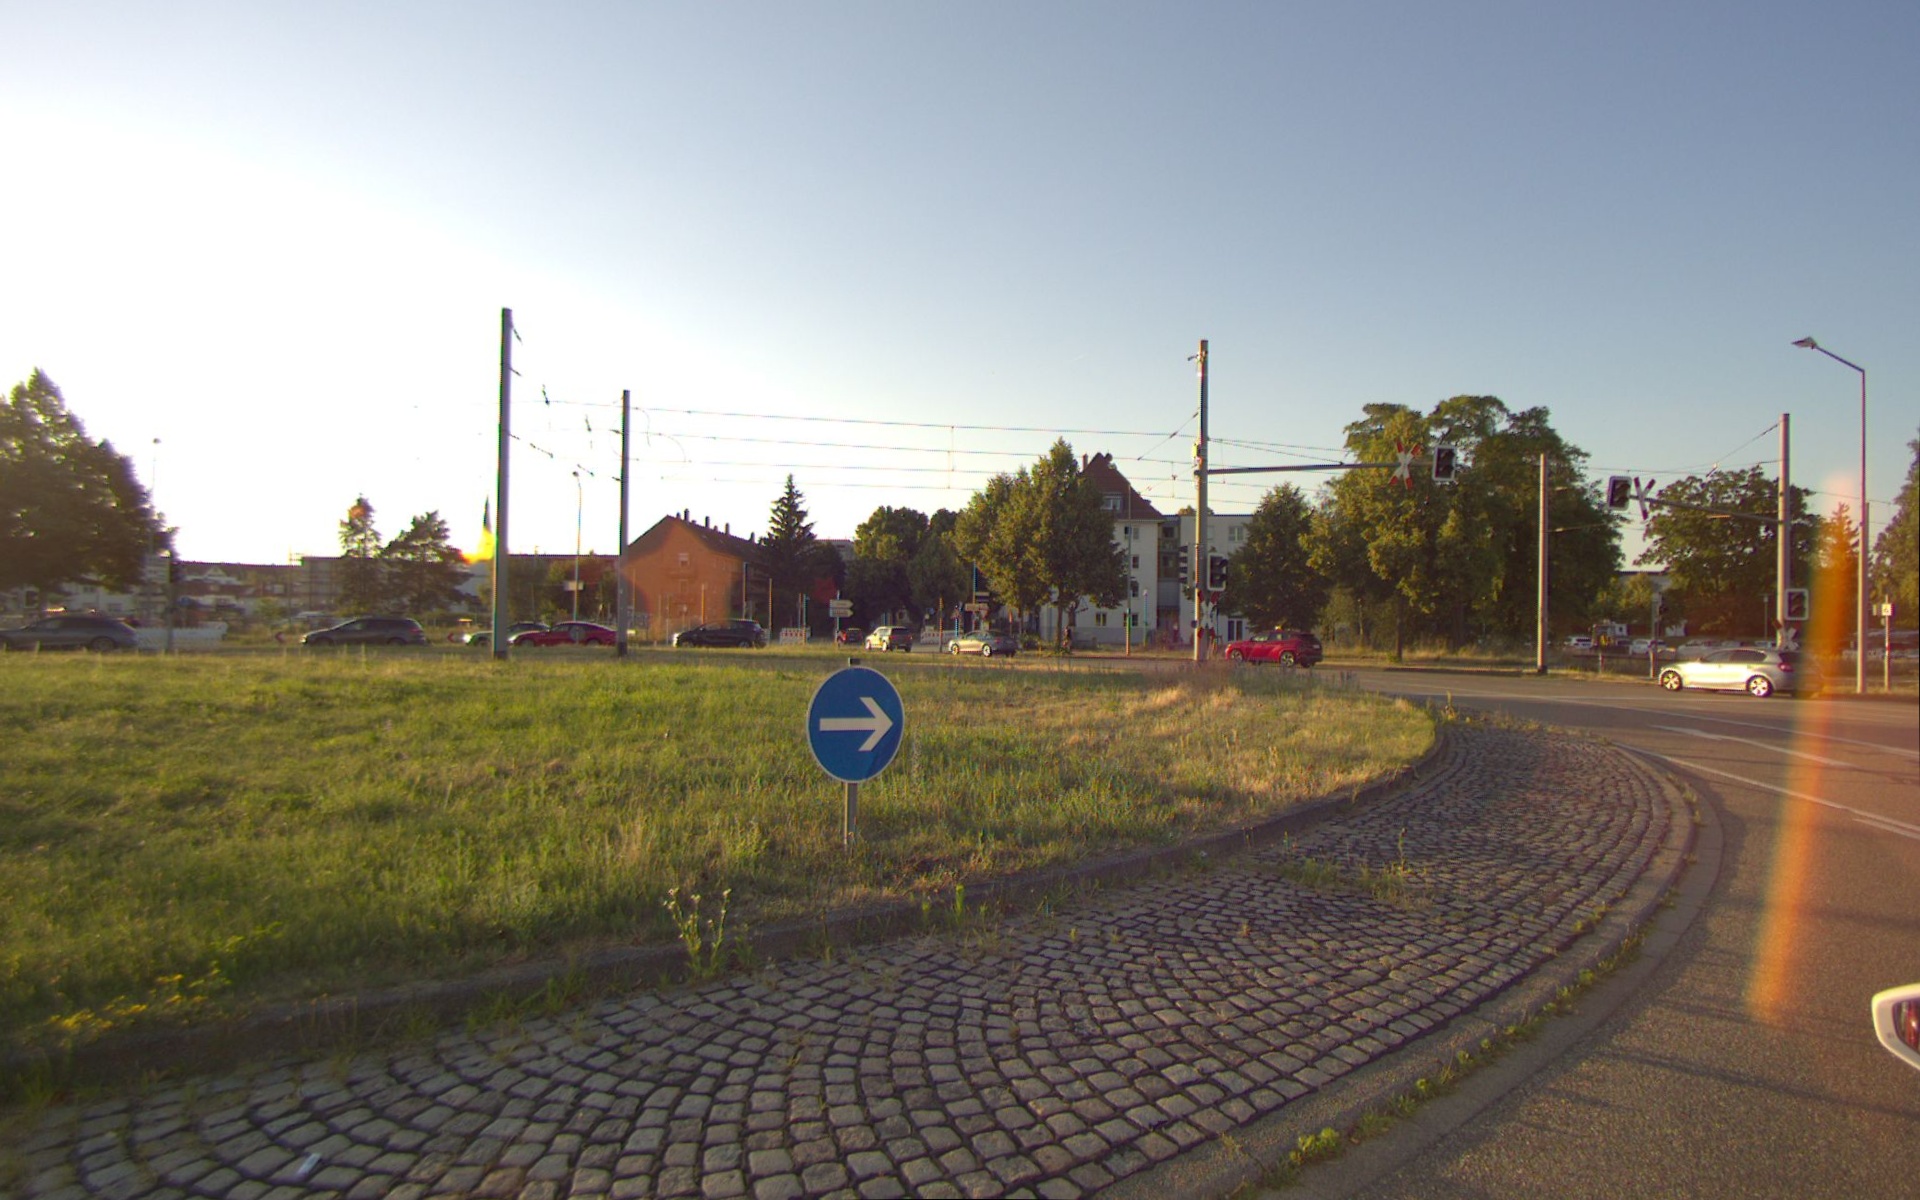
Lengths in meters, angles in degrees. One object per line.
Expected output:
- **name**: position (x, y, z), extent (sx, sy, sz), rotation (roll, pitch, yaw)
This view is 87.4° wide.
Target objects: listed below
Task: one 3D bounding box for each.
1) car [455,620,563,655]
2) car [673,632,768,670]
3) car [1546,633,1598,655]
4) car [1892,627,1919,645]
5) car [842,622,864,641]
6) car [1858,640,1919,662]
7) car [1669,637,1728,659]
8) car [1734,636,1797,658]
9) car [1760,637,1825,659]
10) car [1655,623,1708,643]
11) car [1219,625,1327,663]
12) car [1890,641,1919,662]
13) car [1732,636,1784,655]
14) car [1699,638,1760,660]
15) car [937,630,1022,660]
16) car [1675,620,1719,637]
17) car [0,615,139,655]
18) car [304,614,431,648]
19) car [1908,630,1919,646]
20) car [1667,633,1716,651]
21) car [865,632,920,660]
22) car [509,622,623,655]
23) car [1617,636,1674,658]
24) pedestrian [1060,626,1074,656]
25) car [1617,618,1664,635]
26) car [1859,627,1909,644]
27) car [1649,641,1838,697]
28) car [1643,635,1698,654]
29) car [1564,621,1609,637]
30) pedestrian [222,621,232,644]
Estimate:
- **car**: position (-21.692, 1.816, 48.494), extent (4.409, 1.600, 1.995), rotation (1, -1, -14)
- **car**: position (-10.826, 2.310, 45.626), extent (3.925, 1.605, 1.894), rotation (1, -1, -7)
- **car**: position (49.419, 3.548, 81.221), extent (1.960, 1.625, 4.002), rotation (1, -1, 3)
- **car**: position (107.461, 4.033, 112.582), extent (3.919, 2.040, 2.001), rotation (1, -1, 11)
- **car**: position (-9.437, 2.738, 88.559), extent (1.664, 1.371, 3.996), rotation (-8, 1, -6)
- **car**: position (73.887, 4.017, 79.614), extent (1.960, 1.625, 4.002), rotation (1, -1, 3)
- **car**: position (59.521, 3.853, 81.029), extent (1.960, 1.625, 4.002), rotation (1, -1, 3)
- **car**: position (64.020, 3.719, 79.921), extent (1.960, 1.625, 4.002), rotation (1, -1, 3)
- **car**: position (66.374, 3.792, 80.160), extent (1.960, 1.625, 4.002), rotation (1, -1, 3)
- **car**: position (80.237, 3.651, 111.729), extent (4.507, 2.040, 2.000), rotation (1, -1, 0)
- **car**: position (14.212, 1.963, 45.757), extent (1.983, 1.594, 4.366), rotation (2, -1, -39)
- **car**: position (76.357, 4.091, 79.464), extent (1.960, 1.625, 4.002), rotation (1, -1, 3)
- **car**: position (77.354, 4.423, 97.403), extent (3.938, 1.684, 1.894), rotation (0, -1, 39)
- **car**: position (61.640, 3.915, 80.551), extent (1.960, 1.625, 4.002), rotation (1, -1, 3)
- **car**: position (1.027, 2.451, 55.079), extent (4.605, 1.483, 1.876), rotation (0, -1, 43)
- **car**: position (93.215, 3.595, 127.018), extent (4.033, 2.040, 2.001), rotation (1, -1, 4)
- **car**: position (-33.330, 1.281, 37.342), extent (4.318, 1.394, 1.976), rotation (2, -1, -41)
- **car**: position (-24.931, 1.318, 42.455), extent (4.322, 1.394, 1.989), rotation (1, -1, -23)
- **car**: position (105.593, 4.116, 108.705), extent (1.971, 1.728, 3.979), rotation (1, -1, -22)
- **car**: position (73.168, 4.192, 100.565), extent (3.934, 1.684, 1.994), rotation (0, -1, 35)
- **car**: position (-4.457, 2.974, 66.075), extent (1.975, 1.659, 4.494), rotation (1, -1, -27)
- **car**: position (-17.586, 1.704, 45.030), extent (4.415, 1.410, 1.893), rotation (1, -1, -9)
- **car**: position (54.761, 3.705, 80.328), extent (1.960, 1.625, 4.002), rotation (1, -1, 3)
- **pedestrian**: position (6.927, 2.665, 65.032), extent (0.614, 1.918, 0.662), rotation (2, 0, -35)
- **car**: position (86.264, 3.389, 127.428), extent (4.505, 2.040, 2.001), rotation (1, -1, 5)
- **car**: position (108.041, 4.133, 117.434), extent (3.919, 1.840, 2.001), rotation (1, -1, 5)
- **car**: position (22.777, 1.960, 29.412), extent (1.836, 1.408, 4.151), rotation (1, -1, -14)
- **car**: position (69.217, 4.334, 97.921), extent (3.919, 1.684, 1.904), rotation (1, -1, 5)
- **car**: position (79.589, 3.658, 127.612), extent (4.507, 2.040, 2.000), rotation (1, -1, 0)
- **pedestrian**: position (-42.257, 1.890, 57.873), extent (0.392, 1.325, 0.426), rotation (1, -1, -30)
